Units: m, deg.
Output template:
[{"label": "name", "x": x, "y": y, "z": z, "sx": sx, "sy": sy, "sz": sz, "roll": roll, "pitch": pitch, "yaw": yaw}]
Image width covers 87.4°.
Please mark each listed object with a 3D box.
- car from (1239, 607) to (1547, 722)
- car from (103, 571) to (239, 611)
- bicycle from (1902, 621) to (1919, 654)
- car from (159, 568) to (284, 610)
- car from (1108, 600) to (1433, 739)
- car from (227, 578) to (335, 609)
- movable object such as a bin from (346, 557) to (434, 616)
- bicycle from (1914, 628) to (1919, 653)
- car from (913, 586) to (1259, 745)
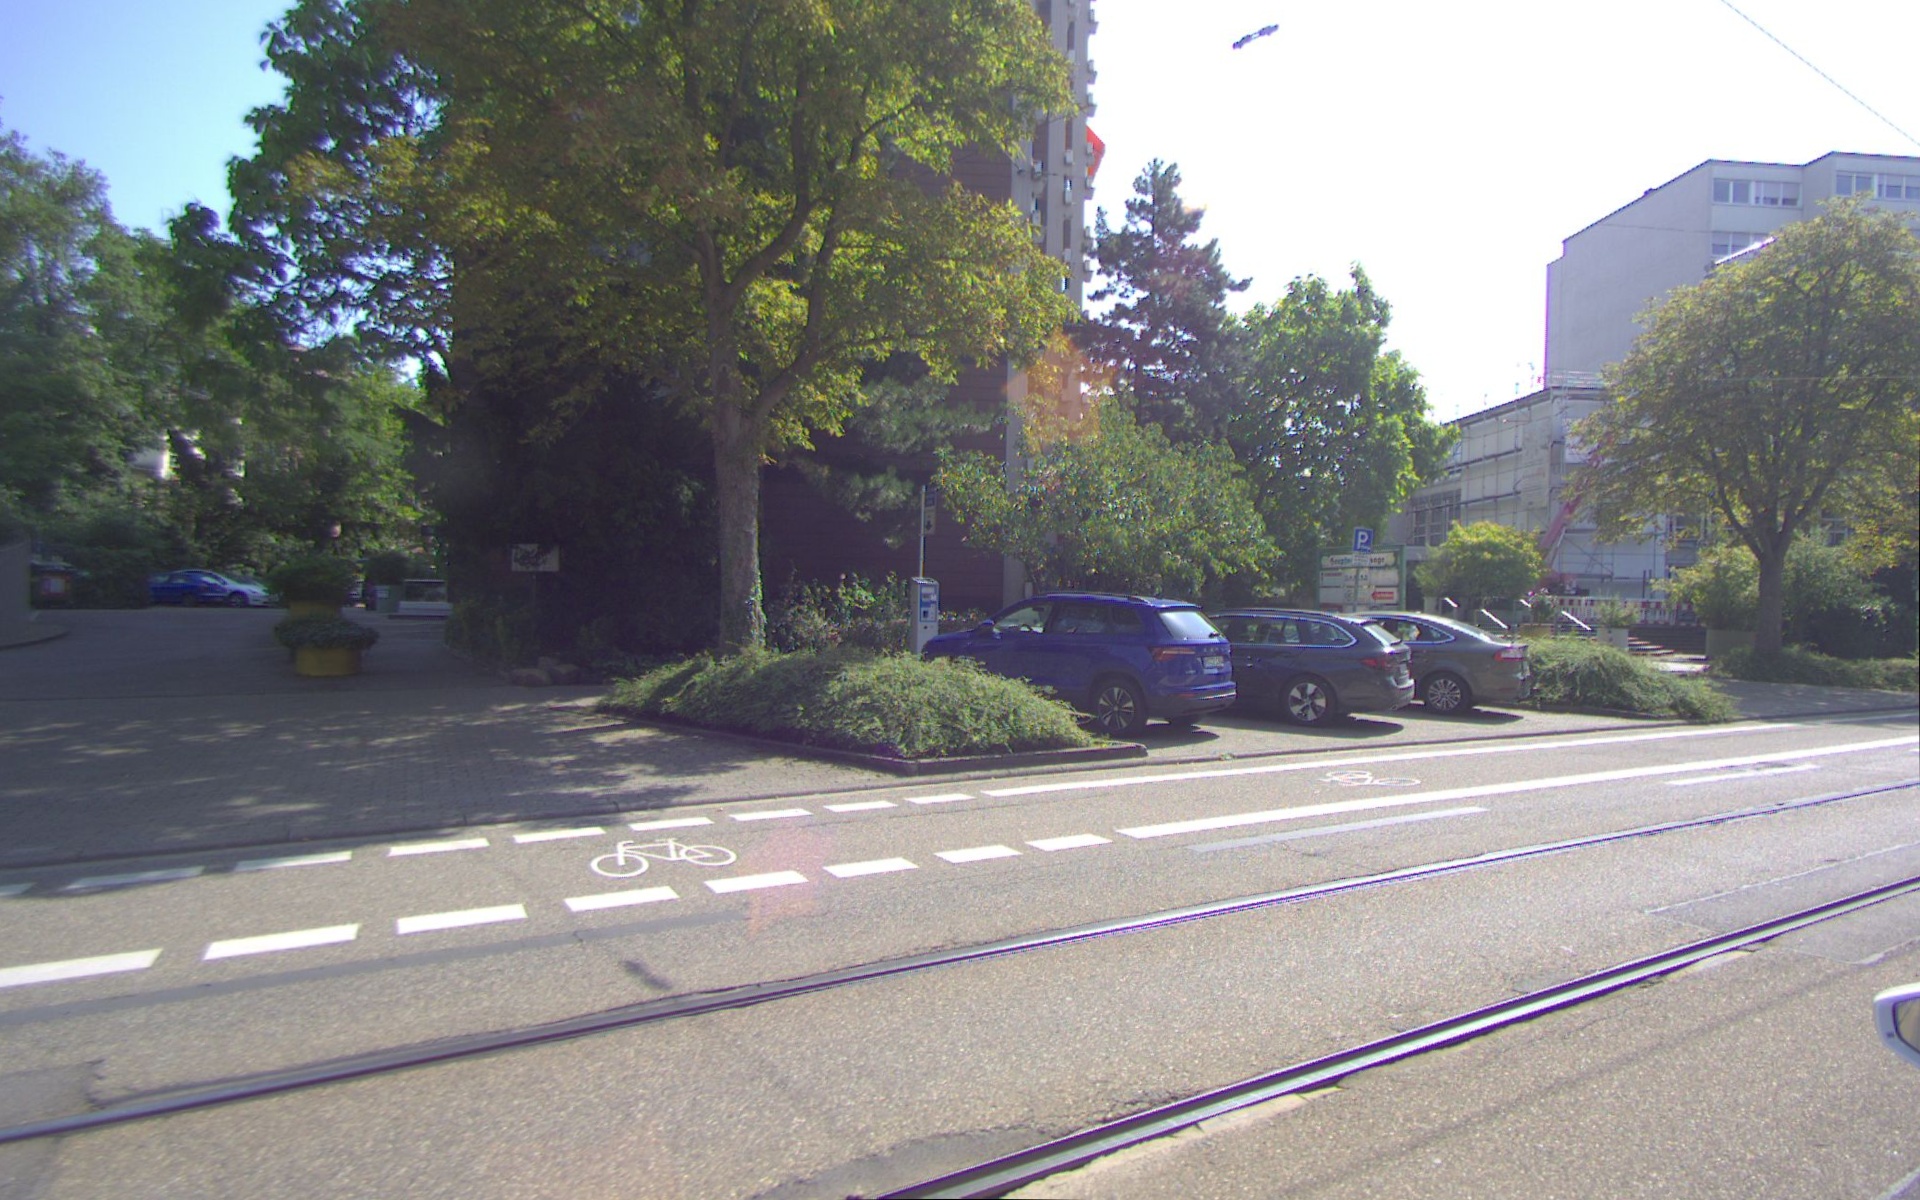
[{"label": "car", "x": 6.801, "y": 0.922, "z": 15.953, "sx": 4.224, "sy": 1.517, "sz": 1.775, "roll": 1, "pitch": 0, "yaw": 35}, {"label": "car", "x": -32.111, "y": -0.370, "z": 40.989, "sx": 3.938, "sy": 1.506, "sz": 1.833, "roll": 1, "pitch": 0, "yaw": -19}, {"label": "bicycle", "x": 45.040, "y": 1.782, "z": 46.349, "sx": 0.591, "sy": 1.546, "sz": 2.342, "roll": 2, "pitch": 1, "yaw": -9}, {"label": "car", "x": -31.956, "y": -0.473, "z": 43.596, "sx": 3.938, "sy": 1.696, "sz": 1.833, "roll": 1, "pitch": 0, "yaw": -19}, {"label": "car", "x": 4.238, "y": 0.849, "z": 13.899, "sx": 3.932, "sy": 1.591, "sz": 1.775, "roll": 1, "pitch": 0, "yaw": 34}, {"label": "car", "x": -32.760, "y": -0.309, "z": 48.613, "sx": 3.938, "sy": 1.400, "sz": 1.833, "roll": 1, "pitch": 0, "yaw": -19}, {"label": "movable object such as a bin", "x": -24.229, "y": -0.569, "z": 42.830, "sx": 1.914, "sy": 2.350, "sz": 3.662, "roll": 1, "pitch": 0, "yaw": -6}, {"label": "bicycle", "x": 45.727, "y": 1.935, "z": 46.477, "sx": 0.591, "sy": 1.184, "sz": 2.342, "roll": 2, "pitch": 1, "yaw": -9}, {"label": "car", "x": 1.508, "y": 0.702, "z": 12.692, "sx": 3.937, "sy": 1.670, "sz": 1.834, "roll": 1, "pitch": 0, "yaw": 38}]
